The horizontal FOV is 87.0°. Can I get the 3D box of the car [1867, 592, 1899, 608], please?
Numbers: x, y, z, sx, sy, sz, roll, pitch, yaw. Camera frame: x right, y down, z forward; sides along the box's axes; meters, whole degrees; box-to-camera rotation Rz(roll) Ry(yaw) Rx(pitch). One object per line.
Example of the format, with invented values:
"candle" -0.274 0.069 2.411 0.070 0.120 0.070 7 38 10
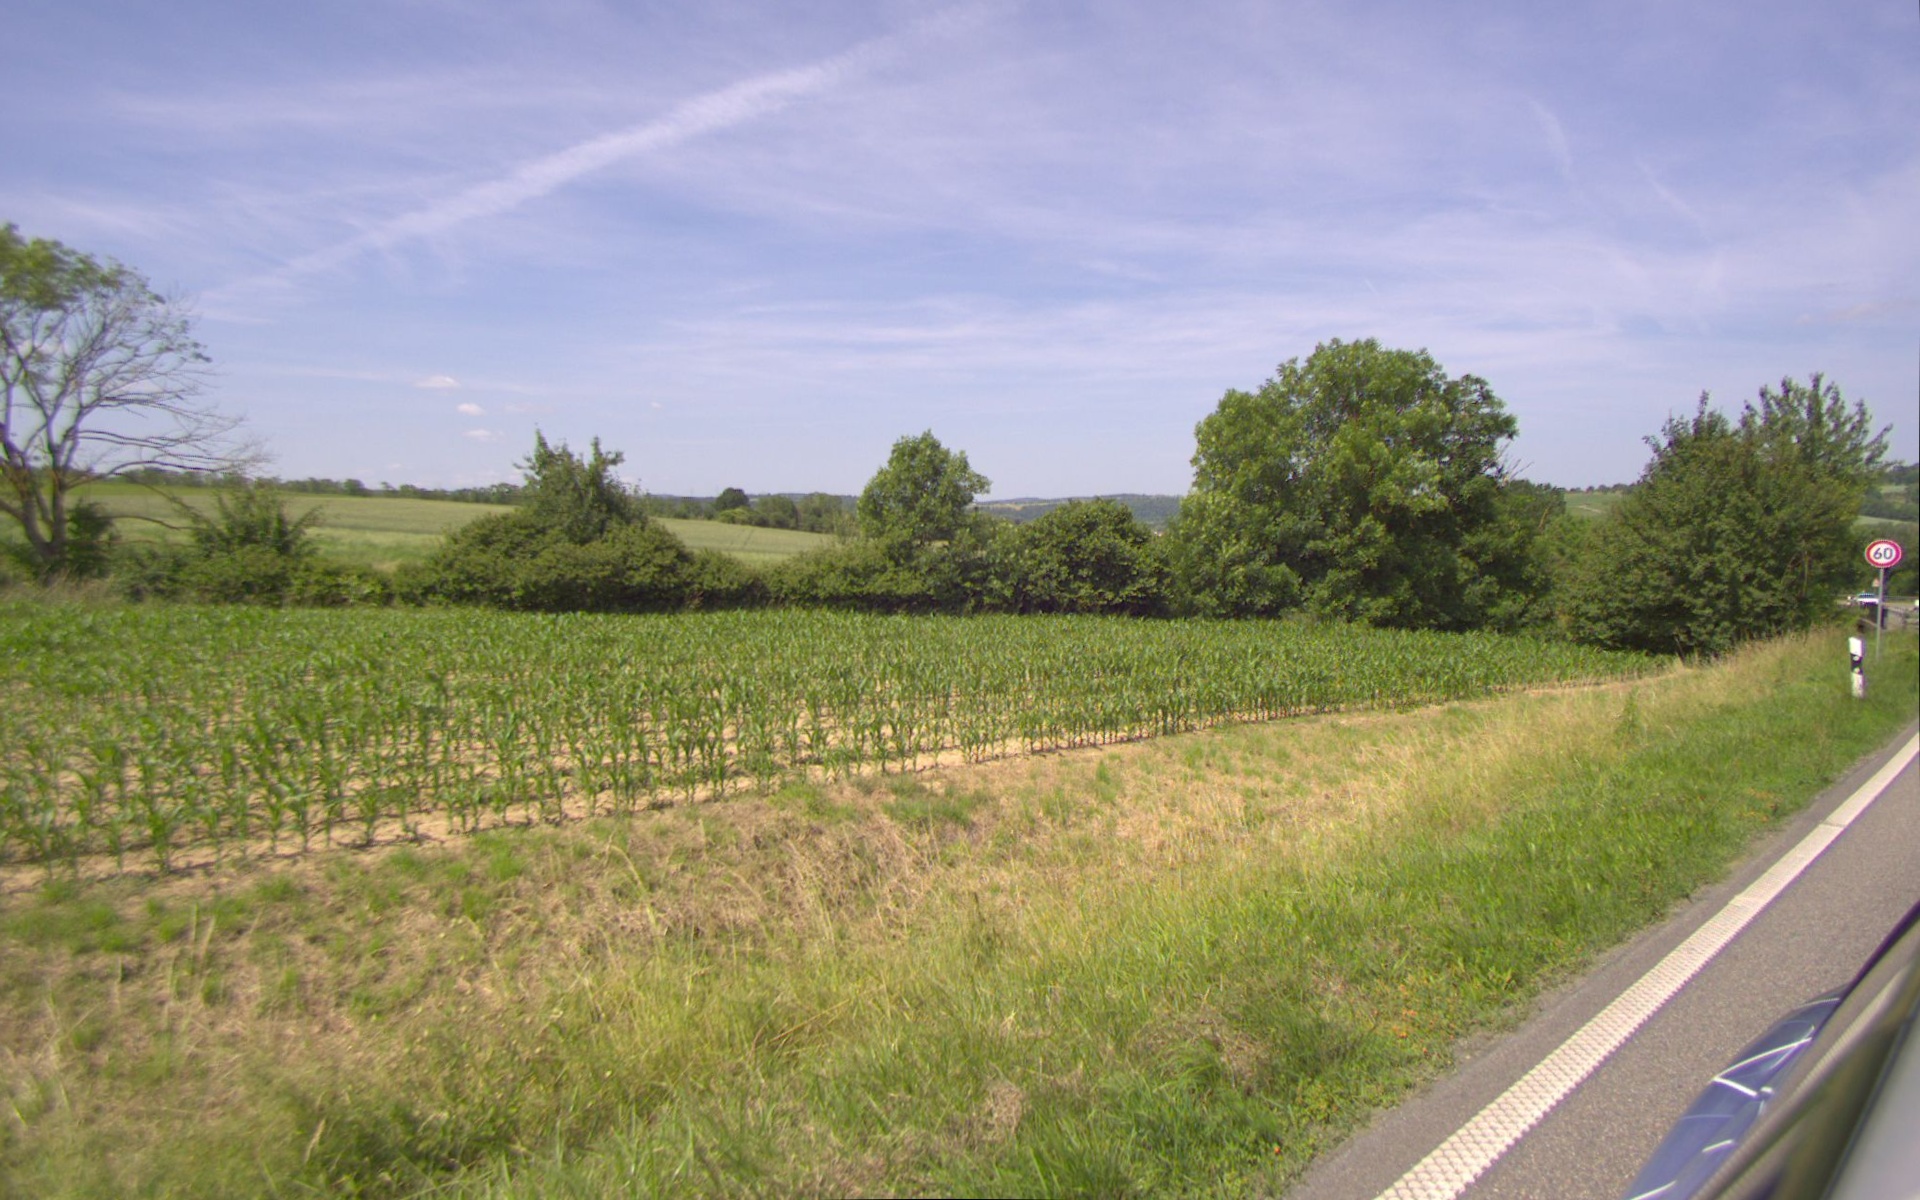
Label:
"car" 88.338 -0.022 96.904 1.699 1.393 4.543 2 1 36
